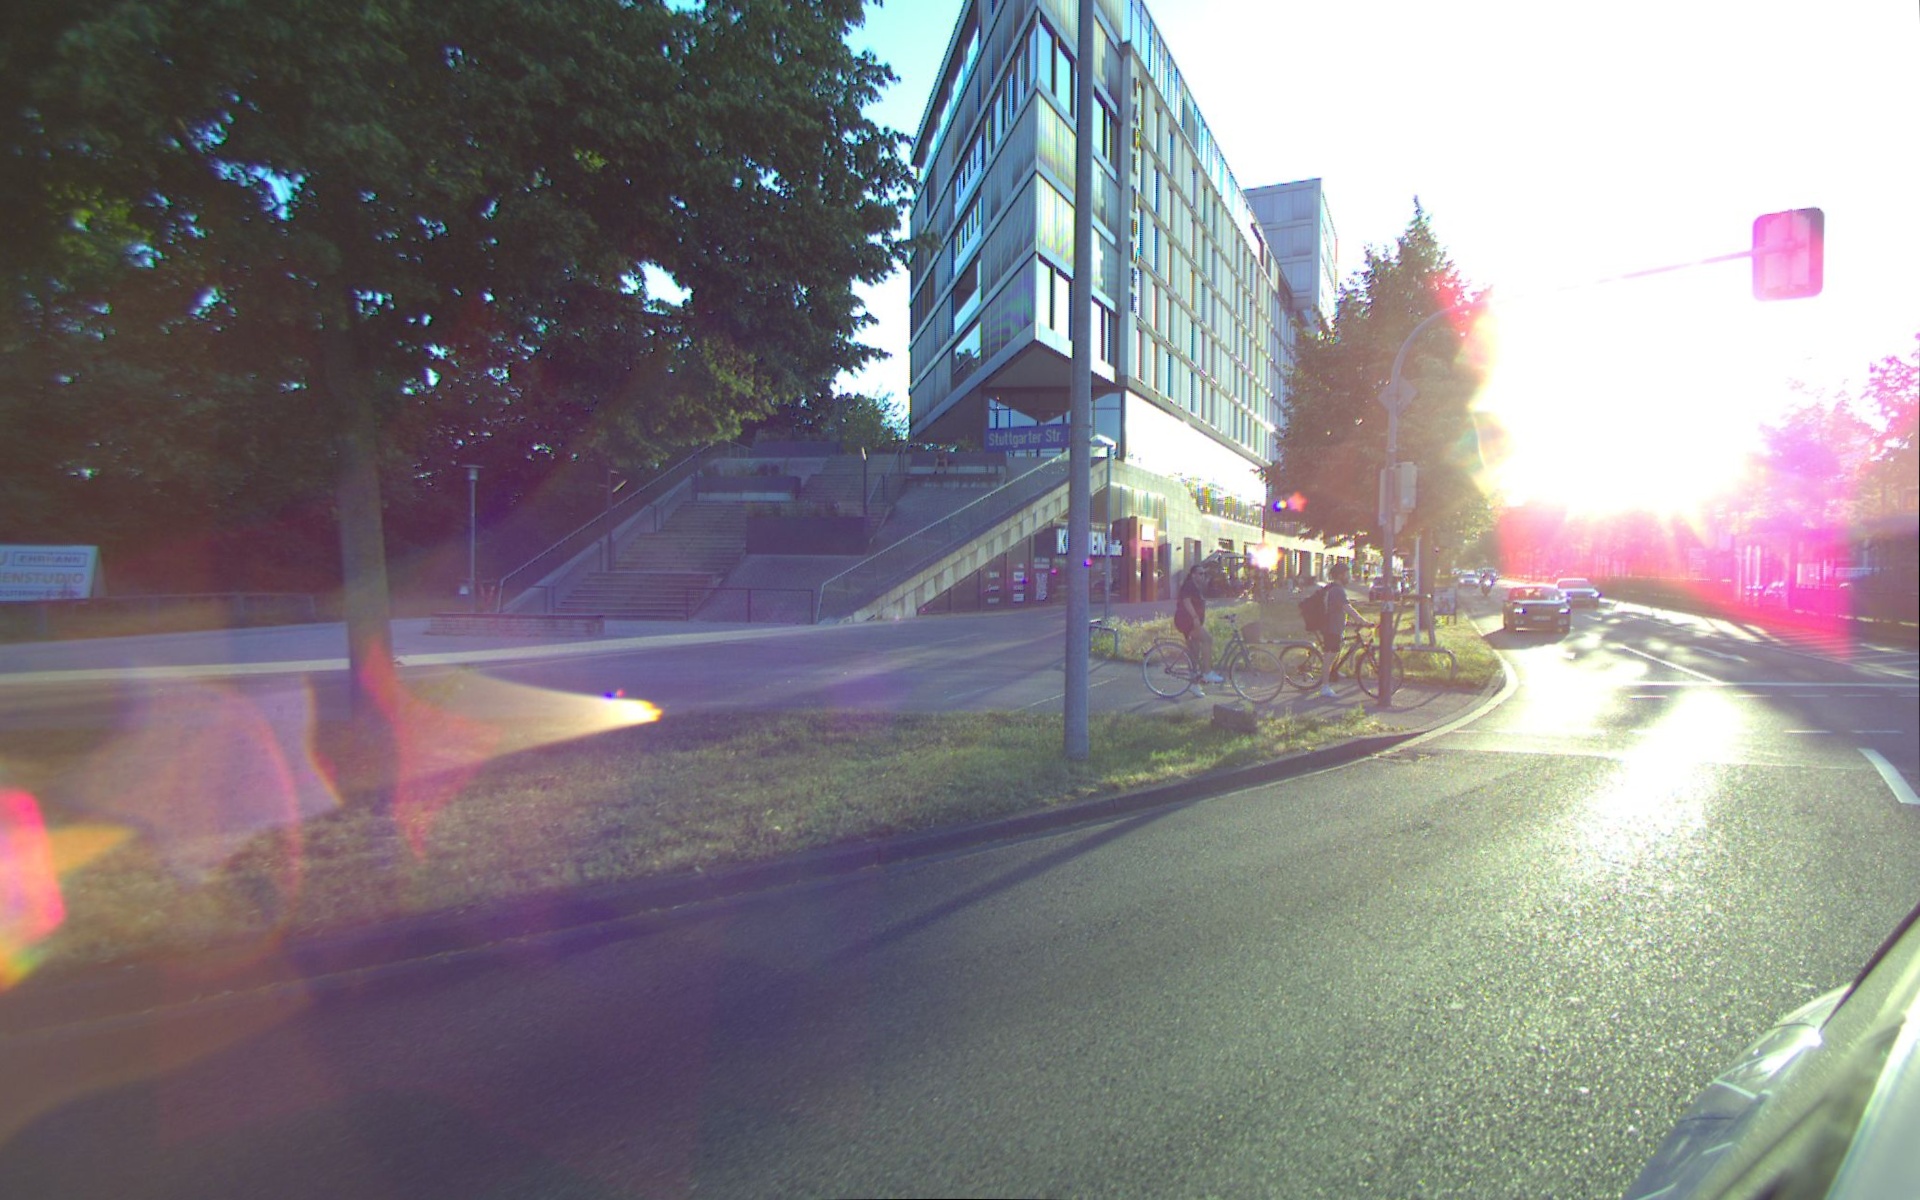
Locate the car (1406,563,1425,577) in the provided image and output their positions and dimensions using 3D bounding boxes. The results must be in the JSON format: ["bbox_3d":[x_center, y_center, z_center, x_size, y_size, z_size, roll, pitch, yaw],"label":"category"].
[{"bbox_3d":[48.278,-3.138,107.253,1.785,1.482,3.965,1,2,26],"label":"car"}]

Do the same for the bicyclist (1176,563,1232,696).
[{"bbox_3d":[3.172,0.360,13.131,0.675,1.668,0.680,0,1,17],"label":"bicyclist"}]

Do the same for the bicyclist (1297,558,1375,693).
[{"bbox_3d":[5.172,0.325,13.903,0.843,1.777,0.795,1,1,33],"label":"bicyclist"}]

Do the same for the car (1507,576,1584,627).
[{"bbox_3d":[18.664,-0.007,32.415,1.785,1.482,3.965,1,2,26],"label":"car"}]

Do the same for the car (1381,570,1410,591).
[{"bbox_3d":[31.833,-1.429,73.907,1.785,1.482,3.965,1,2,26],"label":"car"}]

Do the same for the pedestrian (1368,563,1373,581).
[{"bbox_3d":[47.692,-3.222,117.585,0.533,2.039,0.523,0,1,26],"label":"pedestrian"}]

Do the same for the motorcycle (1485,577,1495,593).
[{"bbox_3d":[37.633,-1.097,71.873,0.552,1.114,2.141,1,1,26],"label":"motorcycle"}]

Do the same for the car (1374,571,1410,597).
[{"bbox_3d":[25.666,-0.997,60.107,1.785,1.482,3.965,1,2,26],"label":"car"}]

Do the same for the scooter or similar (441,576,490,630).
[{"bbox_3d":[-11.723,0.047,23.975,1.568,1.235,0.362,1,1,37],"label":"scooter or similar"}]

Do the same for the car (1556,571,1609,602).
[{"bbox_3d":[30.882,-0.710,50.320,1.785,1.440,4.410,1,2,26],"label":"car"}]

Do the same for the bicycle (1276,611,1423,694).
[{"bbox_3d":[5.355,0.692,13.979,1.850,1.035,0.432,1,1,34],"label":"bicycle"}]

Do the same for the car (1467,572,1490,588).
[{"bbox_3d":[51.205,-1.973,99.990,1.873,1.499,4.017,1,2,26],"label":"car"}]

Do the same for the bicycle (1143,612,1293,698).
[{"bbox_3d":[3.290,0.684,12.982,1.838,1.035,0.306,1,1,17],"label":"bicycle"}]

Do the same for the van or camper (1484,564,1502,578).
[{"bbox_3d":[76.136,-4.127,144.639,1.979,1.981,5.285,1,2,25],"label":"van or camper"}]

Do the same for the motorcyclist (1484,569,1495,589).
[{"bbox_3d":[37.745,-1.490,72.121,0.630,1.426,0.589,1,2,26],"label":"motorcyclist"}]

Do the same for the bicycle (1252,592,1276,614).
[{"bbox_3d":[13.549,0.121,45.082,0.545,0.862,2.619,1,2,27],"label":"bicycle"}]

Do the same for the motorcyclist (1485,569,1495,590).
[{"bbox_3d":[37.461,-1.462,71.531,0.630,1.433,0.708,1,2,26],"label":"motorcyclist"}]

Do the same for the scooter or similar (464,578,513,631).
[{"bbox_3d":[-11.382,0.084,24.420,1.568,1.235,0.362,1,1,37],"label":"scooter or similar"}]
